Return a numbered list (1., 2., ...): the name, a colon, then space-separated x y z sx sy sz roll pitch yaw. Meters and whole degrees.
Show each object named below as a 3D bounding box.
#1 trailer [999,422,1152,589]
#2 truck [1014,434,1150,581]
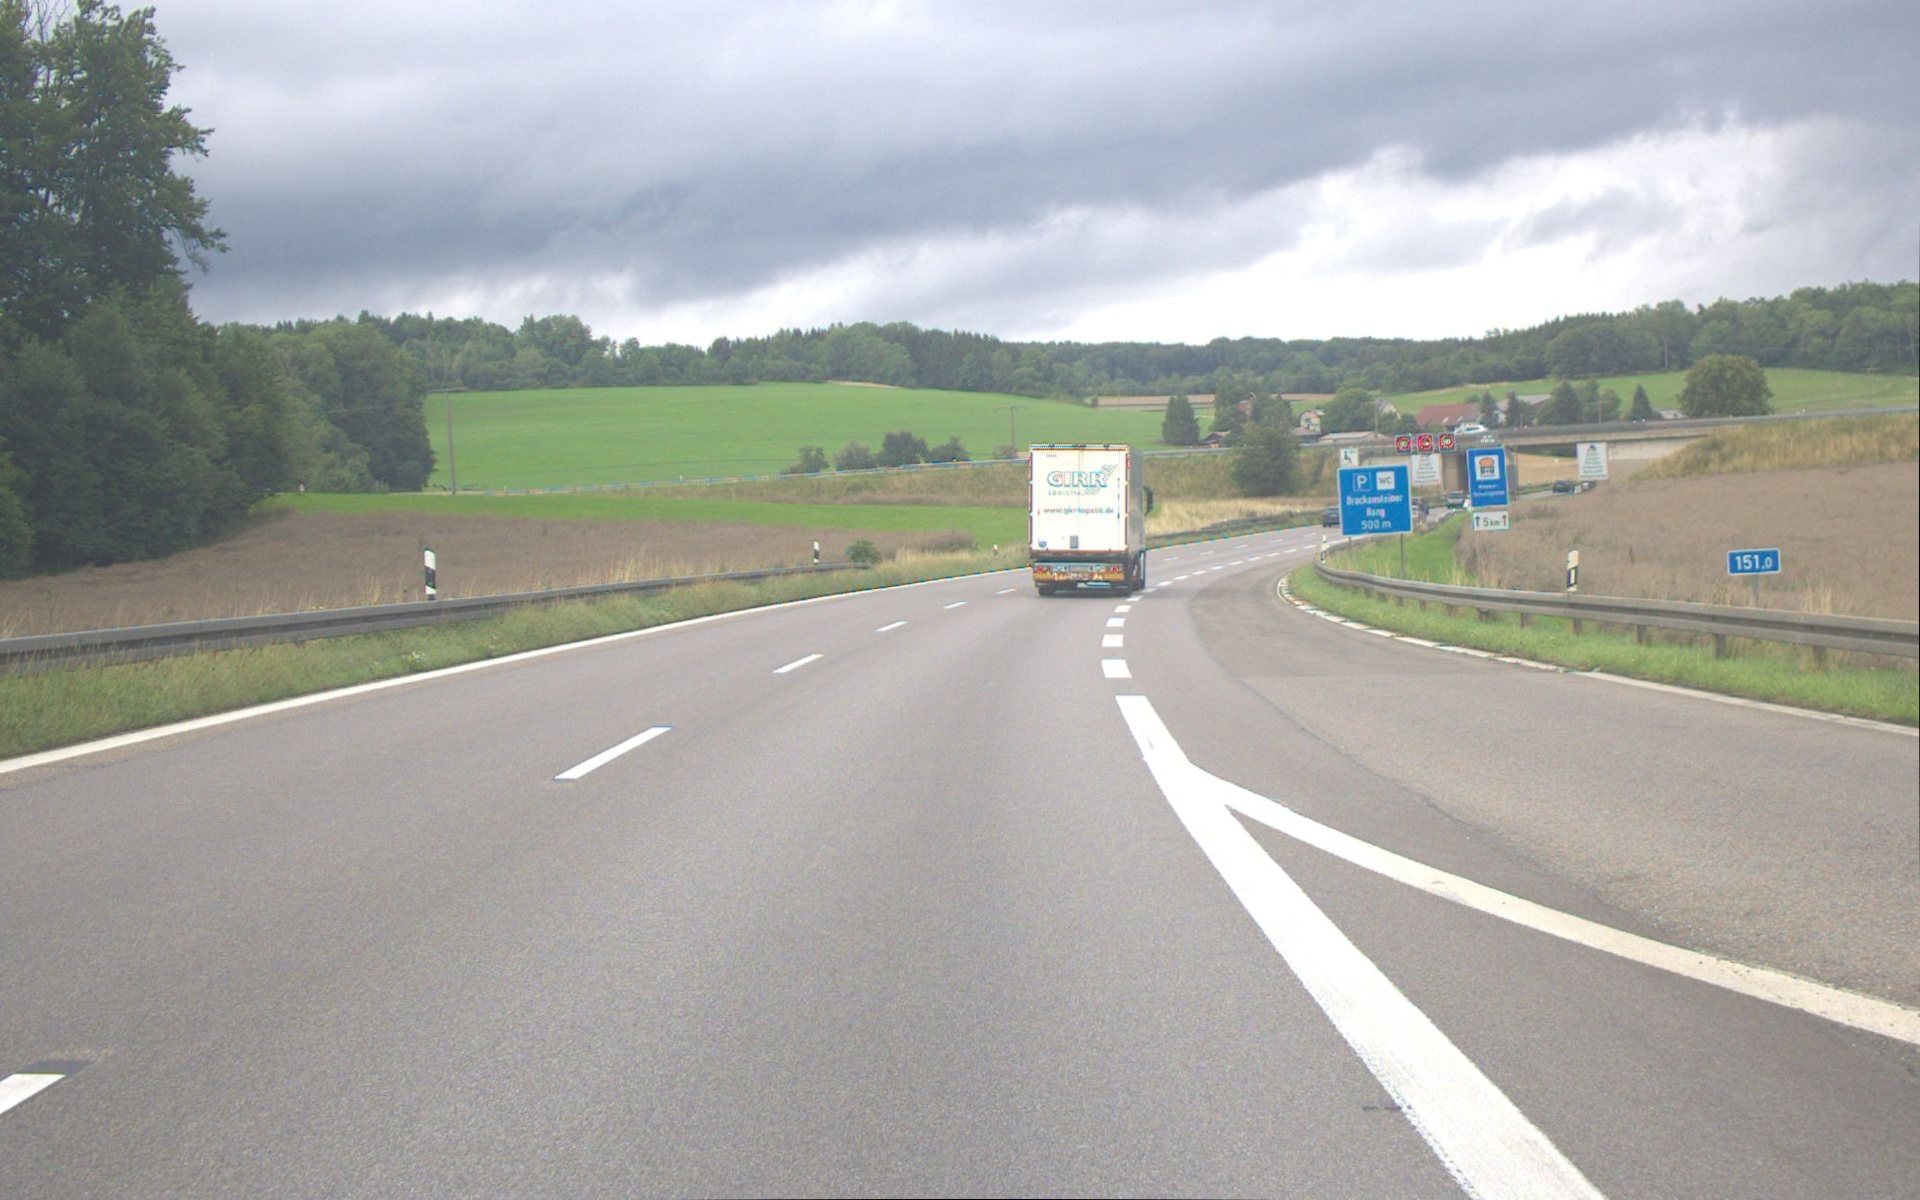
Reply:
1. trailer: 3.323 -2.540 94.592 3.806 4.160 14.807 -1 1 3
2. truck: 3.641 -2.677 101.254 3.788 4.118 8.264 -1 1 3
